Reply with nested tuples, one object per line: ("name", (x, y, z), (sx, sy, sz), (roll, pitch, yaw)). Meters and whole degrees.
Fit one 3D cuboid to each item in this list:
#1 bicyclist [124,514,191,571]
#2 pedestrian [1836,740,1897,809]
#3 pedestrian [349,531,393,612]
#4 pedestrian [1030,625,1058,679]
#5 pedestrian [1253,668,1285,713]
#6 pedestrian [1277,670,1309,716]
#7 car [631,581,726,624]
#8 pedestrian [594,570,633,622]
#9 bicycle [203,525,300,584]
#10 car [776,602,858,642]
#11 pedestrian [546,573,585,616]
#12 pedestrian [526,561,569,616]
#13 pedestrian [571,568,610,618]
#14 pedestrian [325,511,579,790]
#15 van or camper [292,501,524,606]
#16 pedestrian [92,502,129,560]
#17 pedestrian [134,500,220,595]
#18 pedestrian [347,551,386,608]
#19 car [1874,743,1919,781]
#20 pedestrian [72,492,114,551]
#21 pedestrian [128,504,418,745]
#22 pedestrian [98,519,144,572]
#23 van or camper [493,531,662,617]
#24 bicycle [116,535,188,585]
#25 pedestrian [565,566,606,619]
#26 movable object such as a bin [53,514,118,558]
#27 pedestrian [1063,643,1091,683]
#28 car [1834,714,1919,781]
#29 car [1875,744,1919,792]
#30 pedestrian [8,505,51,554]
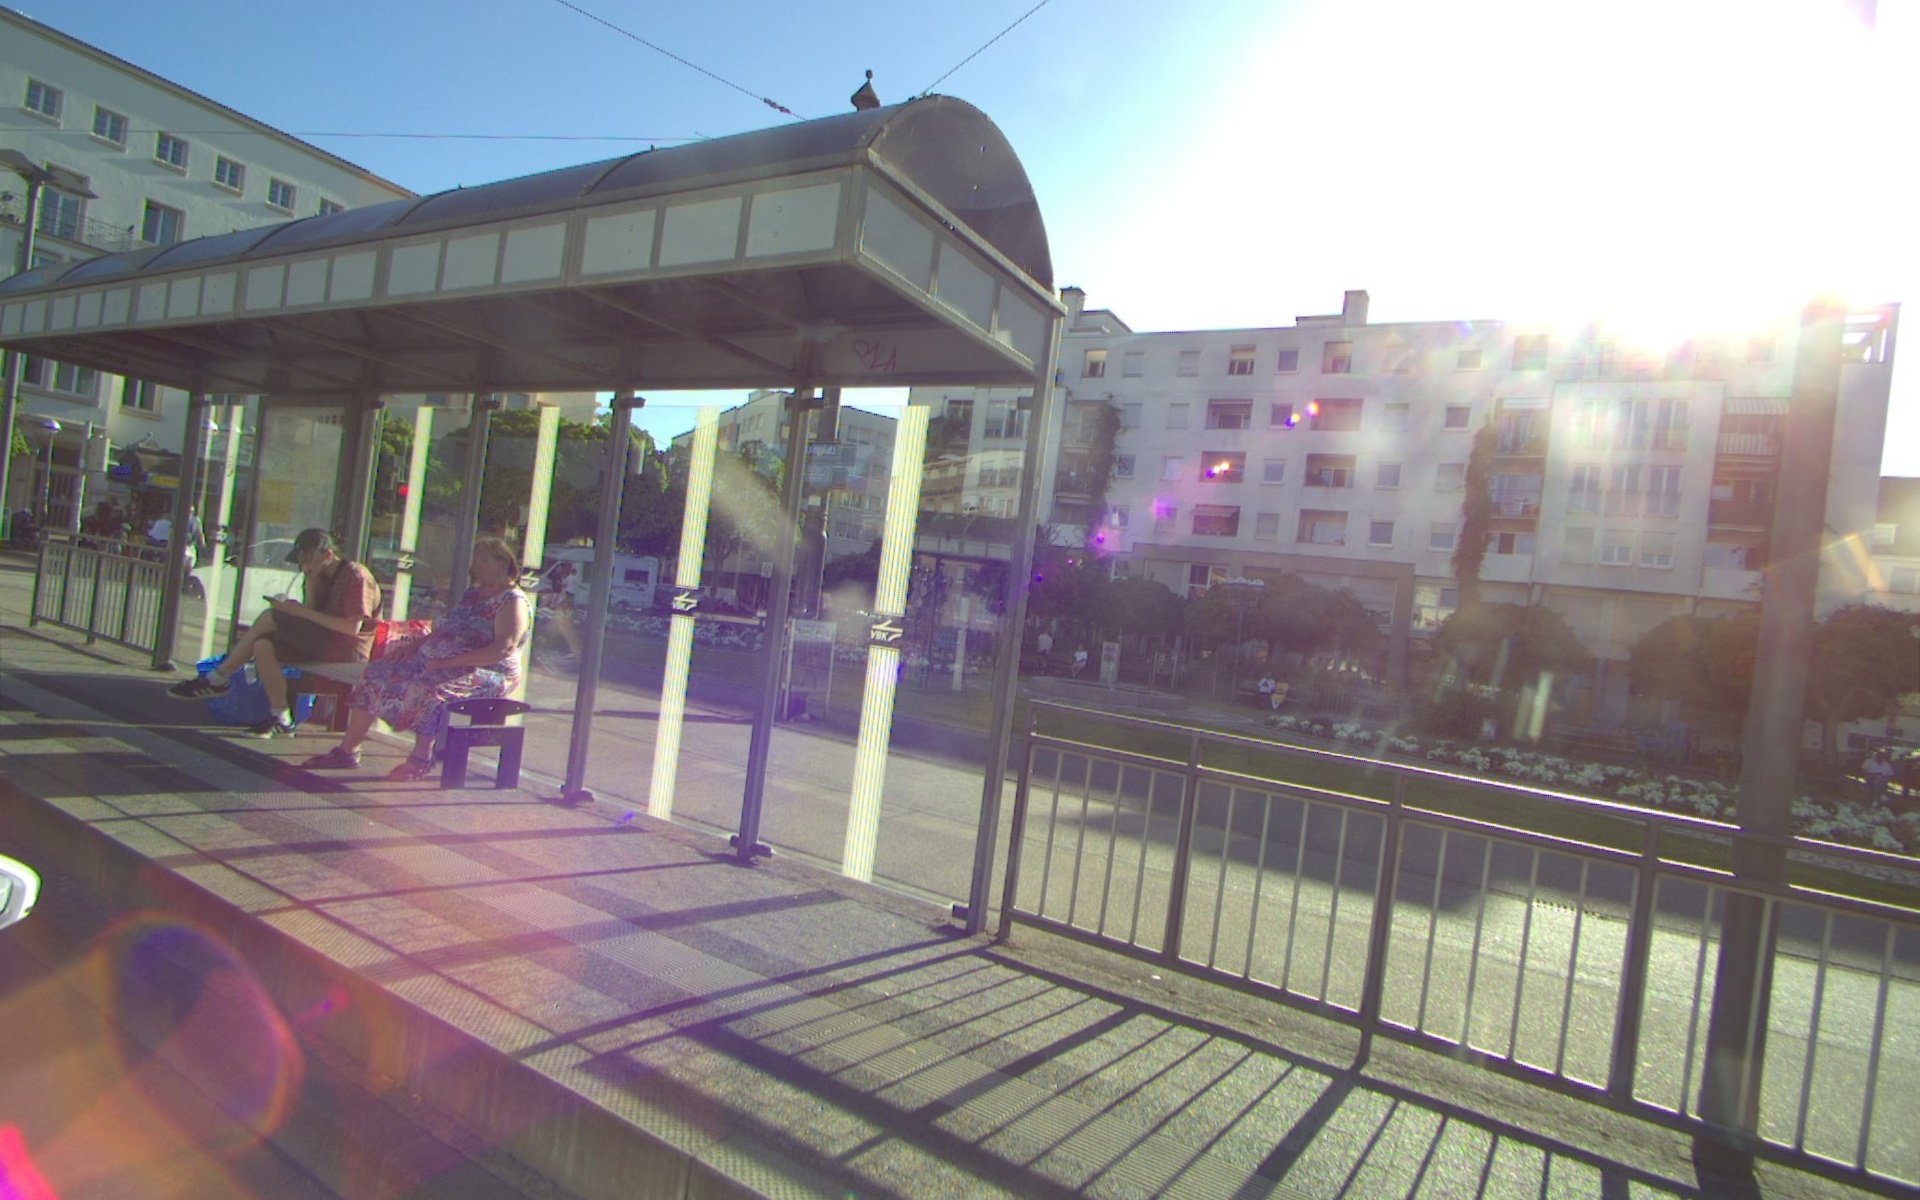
("bicyclist", (-19.857, -1.410, 24.914), (0.942, 1.239, 0.928), (9, -2, -24))
("pedestrian", (21.515, 4.106, 23.893), (0.923, 1.428, 1.521), (7, -1, 42))
("pedestrian", (-13.562, -0.660, 23.181), (0.520, 1.765, 0.557), (6, -1, 42))
("pedestrian", (2.909, 1.782, 34.700), (0.661, 1.745, 1.028), (7, 0, 11))
("pedestrian", (9.597, 2.803, 31.274), (0.718, 1.287, 0.745), (7, 0, 11))
("pedestrian", (10.307, 2.864, 31.139), (0.718, 1.287, 0.745), (7, 0, 11))
("car", (-13.896, 0.126, 49.841), (1.974, 1.529, 3.982), (6, -3, 43))
("pedestrian", (-11.719, -0.125, 34.034), (0.651, 1.605, 0.902), (7, 0, 35))
("bicycle", (-23.537, -1.481, 33.484), (0.714, 1.548, 2.391), (7, -3, 31))
("car", (-6.735, 1.071, 47.904), (1.964, 1.503, 4.000), (7, -1, 23))
("pedestrian", (-12.961, -0.172, 33.079), (0.595, 1.295, 0.902), (7, -1, 36))
("pedestrian", (-13.748, -0.388, 33.533), (0.684, 1.705, 0.902), (7, 0, 35))
("pedestrian", (-12.933, -0.244, 35.236), (0.651, 1.604, 0.902), (7, 0, 35))
("pedestrian", (-2.722, 0.288, 5.451), (0.613, 1.348, 0.861), (6, -4, 31))
("van or camper", (-20.400, -1.617, 37.674), (2.331, 2.780, 7.132), (9, 0, 32))
("pedestrian", (-28.734, -2.332, 34.010), (0.649, 1.861, 0.653), (7, 0, 35))
("pedestrian", (-17.165, -1.147, 22.061), (1.110, 1.900, 0.983), (6, -1, 29))
("pedestrian", (-13.222, -0.449, 22.413), (0.550, 1.182, 0.469), (6, -2, 40))
("car", (39.925, 6.820, 40.833), (3.941, 1.303, 1.993), (7, -1, 38))
("pedestrian", (-29.451, -2.665, 34.178), (0.667, 1.861, 0.785), (7, 0, 35))
("pedestrian", (-4.068, 0.164, 6.003), (0.908, 1.238, 1.001), (6, -4, 32))
("pedestrian", (-25.365, -1.644, 30.427), (0.742, 1.427, 0.731), (11, 1, 32))
("van or camper", (-16.500, -1.045, 43.834), (2.340, 2.873, 6.411), (7, -1, 35))
("bicycle", (-19.908, -0.957, 24.846), (0.712, 1.073, 2.310), (9, -2, -25))
("pedestrian", (-12.271, -0.240, 32.989), (0.651, 1.605, 0.902), (7, 0, 35))
("movable object such as a bin", (-28.120, -2.060, 32.343), (1.197, 1.167, 1.200), (7, -1, 32))
("pedestrian", (4.060, 2.178, 34.858), (0.718, 1.287, 1.042), (7, 0, 11))
("car", (43.865, 6.904, 45.138), (6.285, 2.585, 2.812), (7, -1, 28))
("car", (36.483, 6.437, 36.980), (3.941, 1.535, 1.993), (7, -1, 38))
("pedestrian", (-27.975, -2.116, 30.258), (0.736, 1.332, 0.622), (7, 0, -35))
